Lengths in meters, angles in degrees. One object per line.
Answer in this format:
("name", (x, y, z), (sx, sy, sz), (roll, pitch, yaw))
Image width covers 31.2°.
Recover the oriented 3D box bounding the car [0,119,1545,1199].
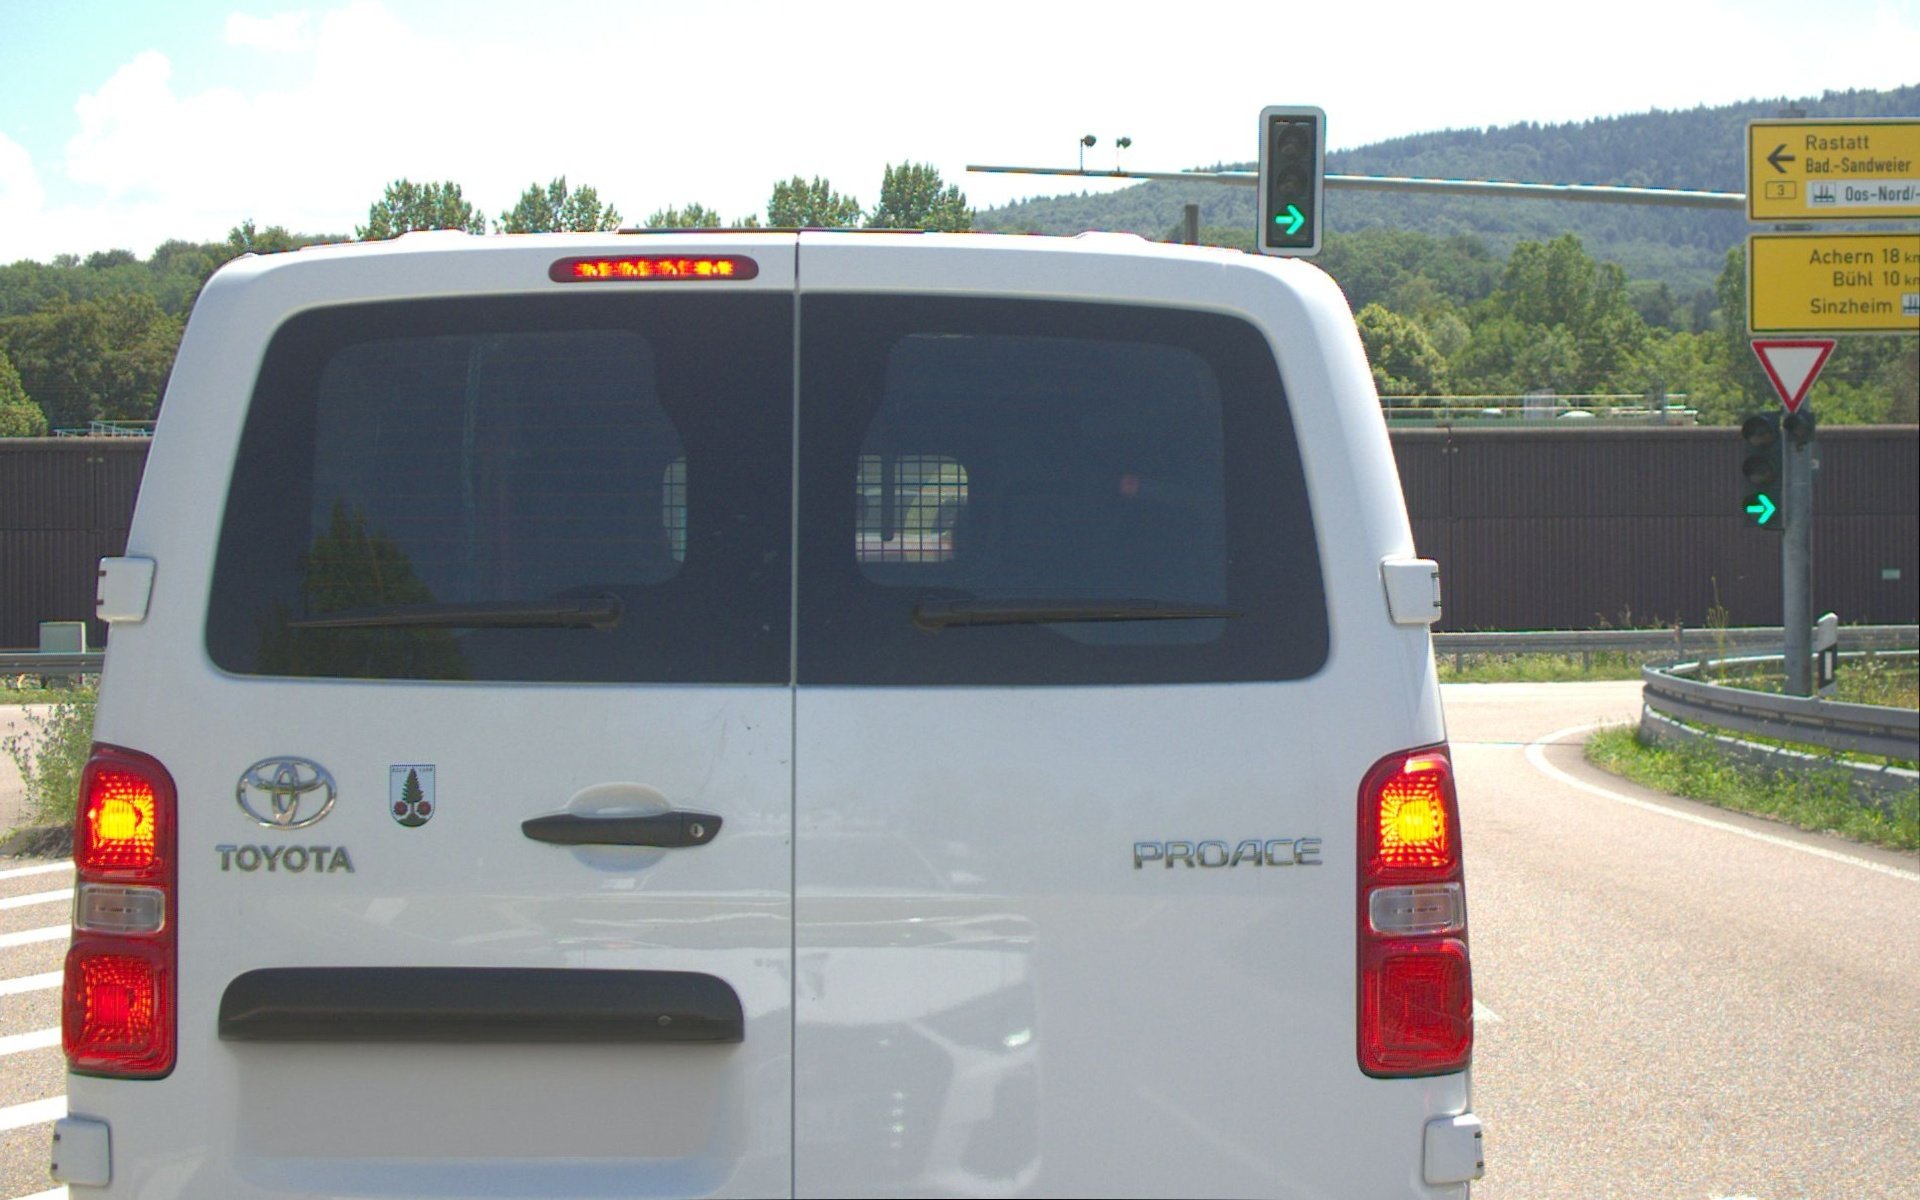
("car", (-0.264, 0.440, 5.935), (1.814, 2.011, 4.000), (0, 1, -1))
